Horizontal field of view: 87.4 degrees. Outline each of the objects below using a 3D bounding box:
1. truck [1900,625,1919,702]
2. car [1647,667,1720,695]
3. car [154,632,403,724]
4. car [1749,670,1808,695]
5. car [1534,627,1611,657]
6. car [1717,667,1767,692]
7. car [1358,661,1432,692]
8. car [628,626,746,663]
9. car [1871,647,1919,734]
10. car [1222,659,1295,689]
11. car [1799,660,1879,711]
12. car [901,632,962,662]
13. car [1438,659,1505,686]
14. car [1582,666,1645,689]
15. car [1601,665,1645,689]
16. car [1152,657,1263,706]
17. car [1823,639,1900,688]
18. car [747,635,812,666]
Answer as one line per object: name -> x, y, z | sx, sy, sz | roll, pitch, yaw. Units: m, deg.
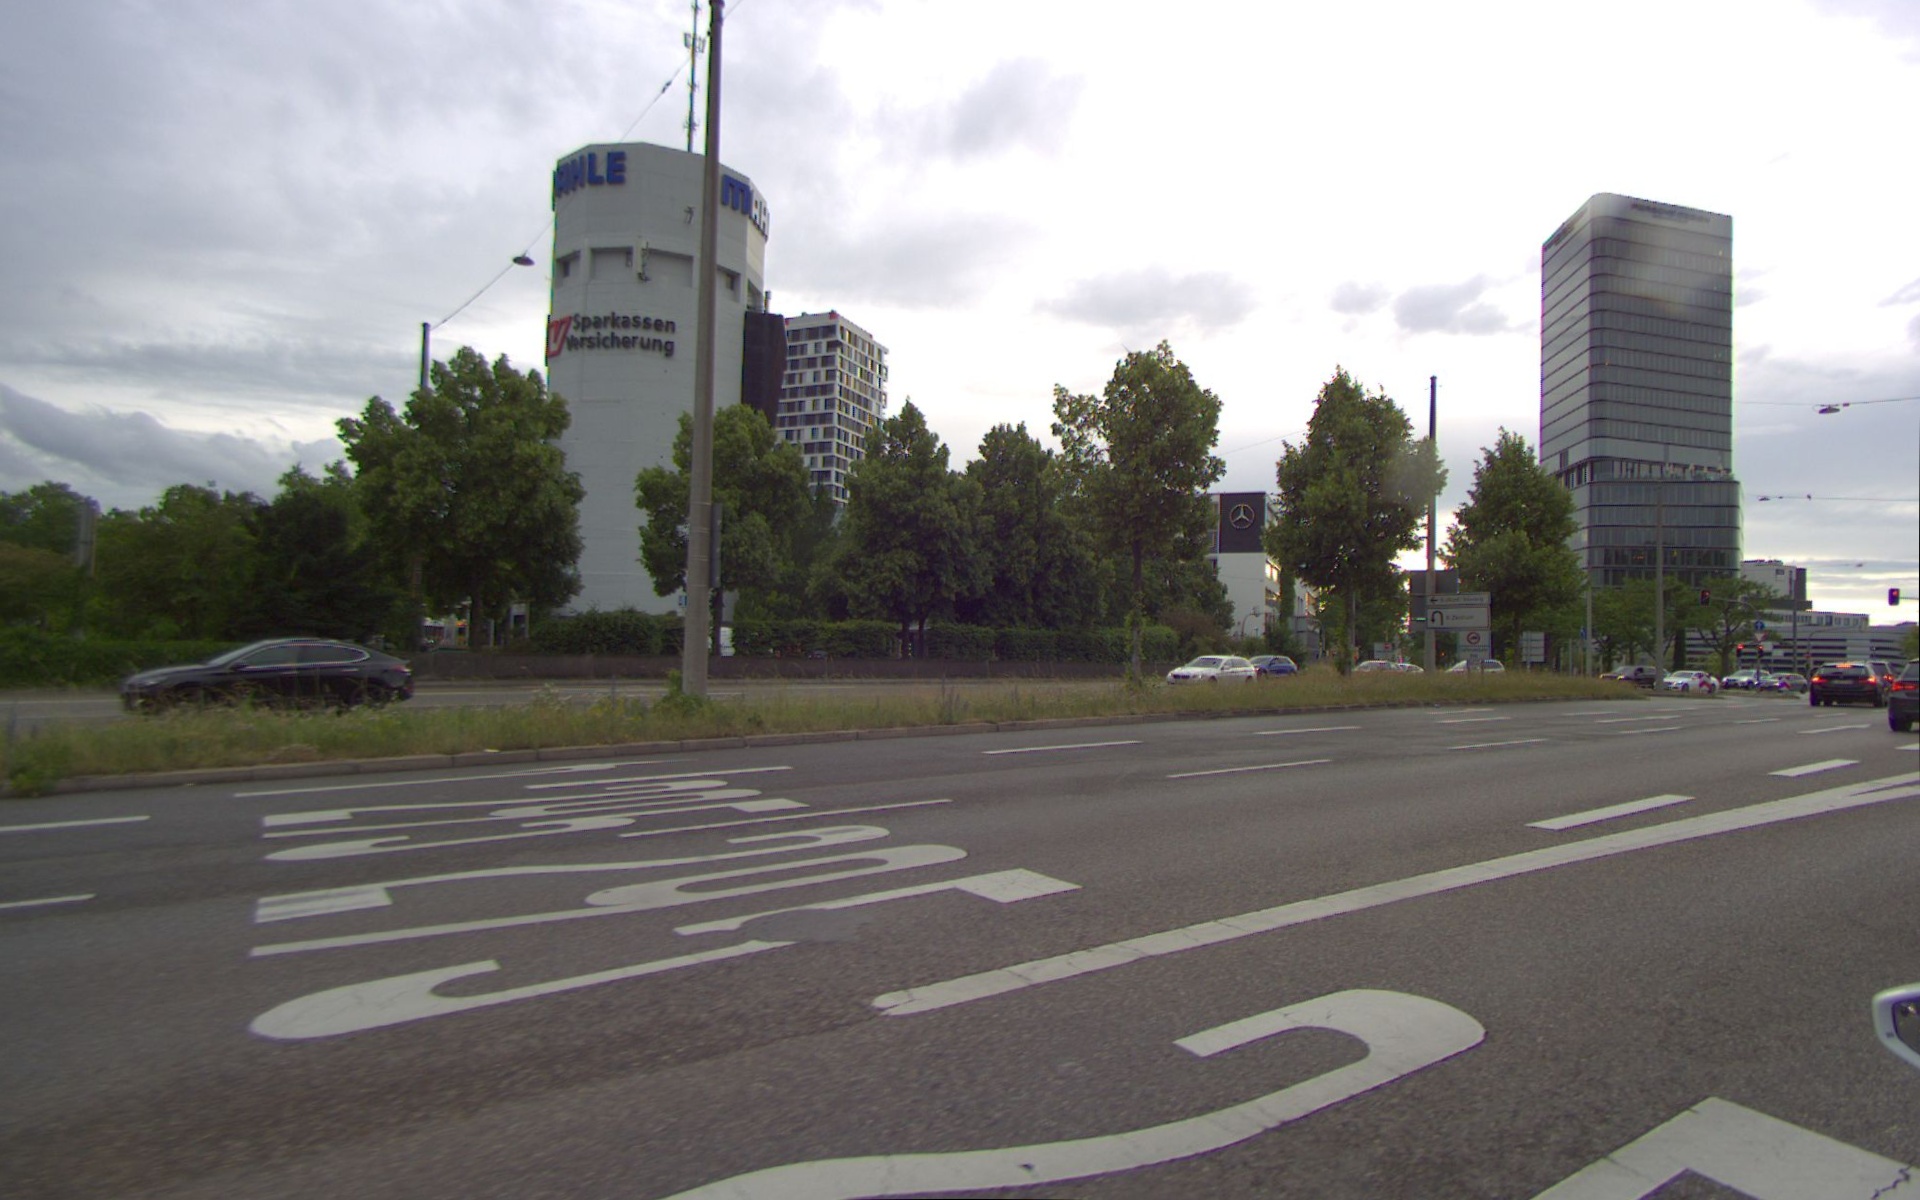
truck -> 43.651, 2.842, 44.303 | 2.634, 3.262, 6.521 | 1, -2, 39
car -> 48.069, 5.359, 66.733 | 4.541, 1.680, 1.888 | 3, -2, -24
car -> -12.450, 1.352, 18.458 | 3.647, 1.379, 1.580 | 0, 1, -41
car -> 61.297, 6.170, 75.197 | 3.857, 1.679, 1.825 | 3, -2, -22
car -> 36.020, 2.461, 59.075 | 4.549, 1.680, 1.885 | 2, -2, -29
car -> 61.560, 6.215, 79.099 | 3.710, 1.862, 1.757 | 2, -2, -28
car -> 26.459, 4.624, 61.026 | 4.698, 1.693, 1.980 | 3, -2, -36
car -> -17.485, 2.893, 64.643 | 6.946, 2.159, 2.362 | 4, -2, -41
car -> 19.240, 1.703, 19.248 | 3.937, 1.481, 1.857 | 0, -1, -36
car -> 15.949, 3.910, 53.546 | 3.949, 1.461, 1.861 | 3, -3, -40
car -> 29.437, 2.841, 33.599 | 1.884, 1.584, 3.978 | -2, -5, 43
car -> -2.051, 3.355, 71.770 | 3.963, 2.040, 1.979 | 2, -2, -37
car -> 34.999, 4.980, 68.723 | 4.692, 1.693, 1.983 | 3, -2, -32
car -> 45.597, 5.404, 70.026 | 4.527, 1.503, 1.920 | 3, -2, -31
car -> 54.286, 6.317, 82.236 | 3.492, 1.840, 1.590 | 1, -2, -29
car -> 9.994, 3.218, 40.351 | 4.835, 1.794, 1.976 | 3, -2, -42
car -> 35.326, 2.426, 39.325 | 4.043, 1.704, 1.821 | 2, 1, -43
car -> -12.425, 3.421, 69.143 | 3.971, 2.040, 1.975 | 2, -2, -43
